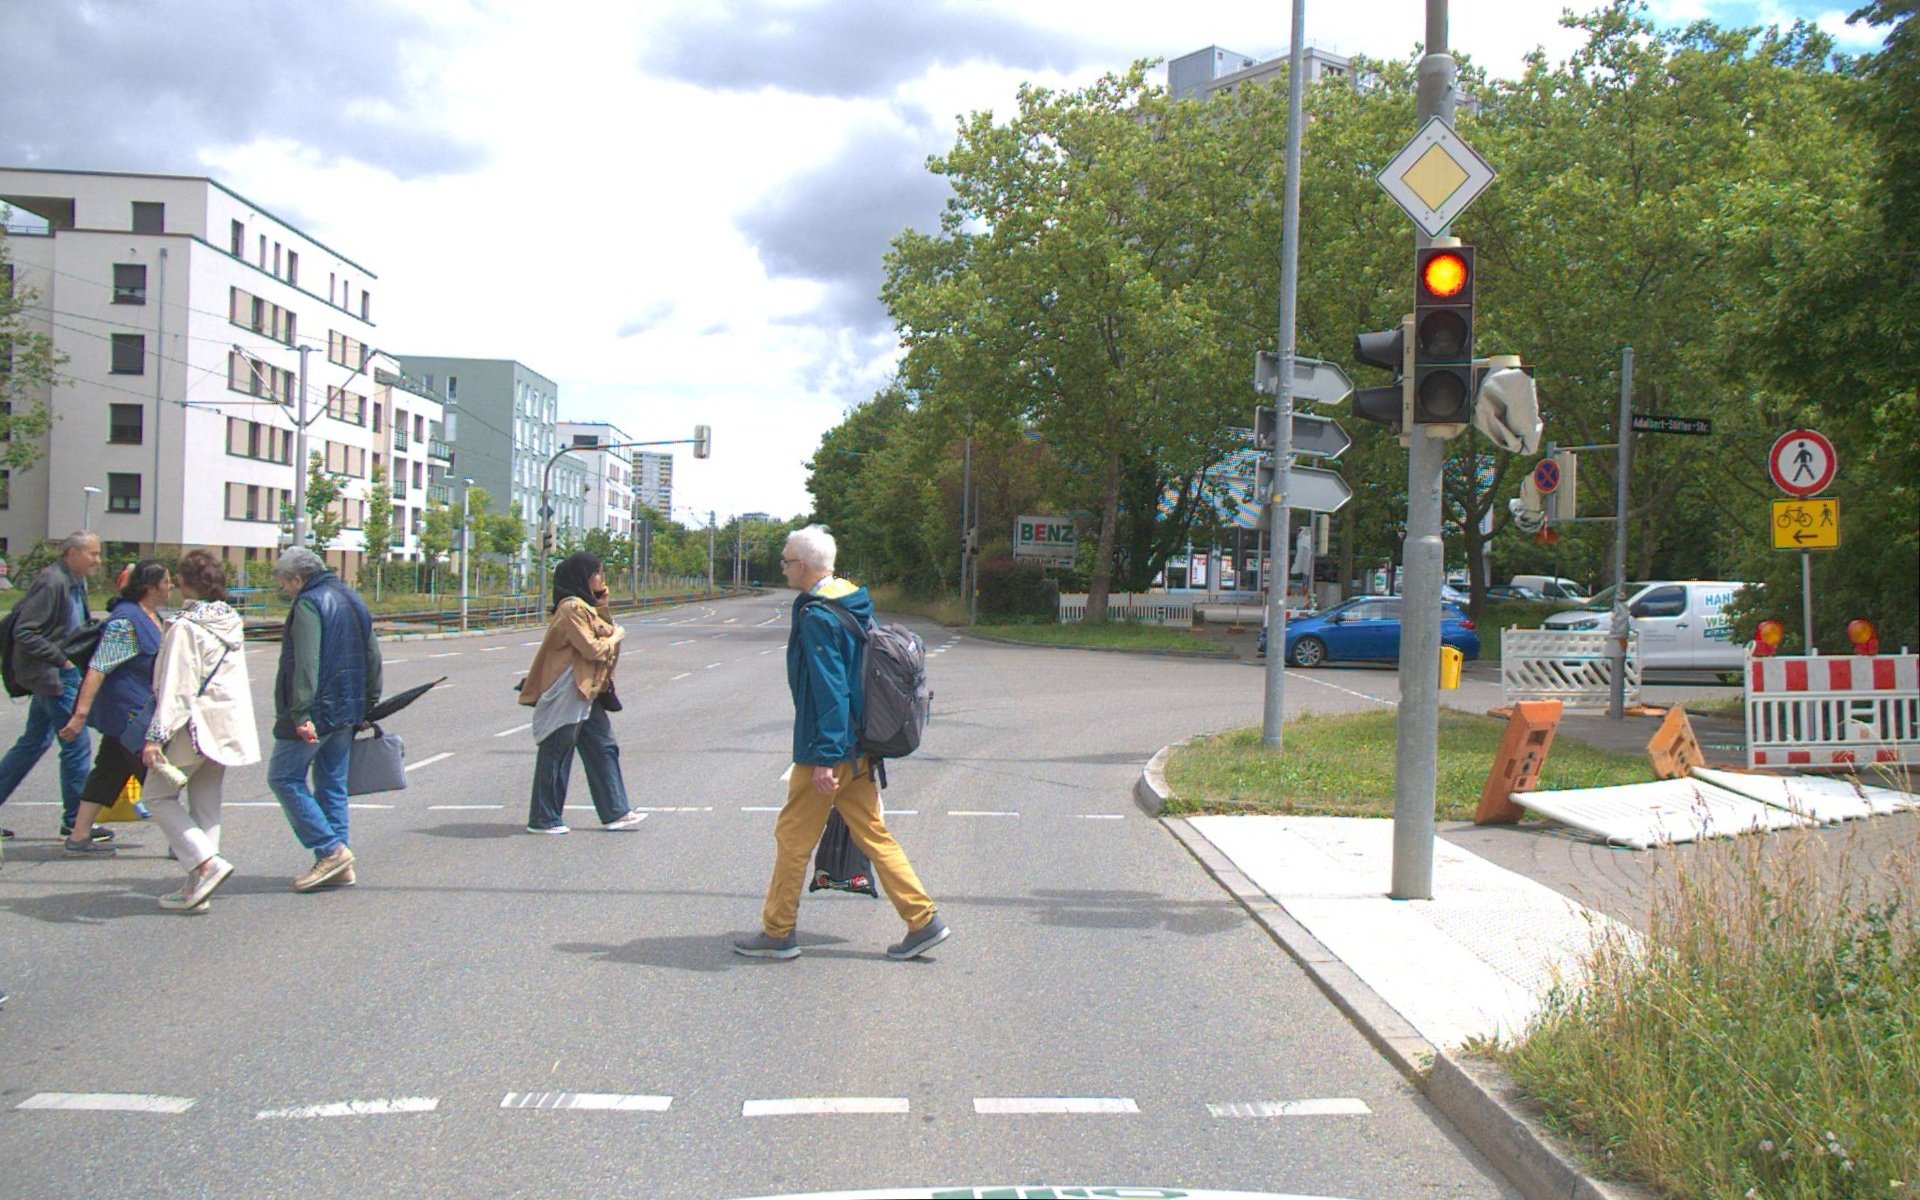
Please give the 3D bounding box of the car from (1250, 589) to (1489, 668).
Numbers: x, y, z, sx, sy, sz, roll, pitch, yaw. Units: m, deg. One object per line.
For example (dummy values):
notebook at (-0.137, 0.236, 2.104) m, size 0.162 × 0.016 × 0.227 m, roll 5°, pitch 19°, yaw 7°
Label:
car at (8.303, 0.555, 33.810) m, size 4.385 × 1.512 × 1.988 m, roll 1°, pitch 0°, yaw -1°

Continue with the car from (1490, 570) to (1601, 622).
car at (23.932, -0.189, 67.705) m, size 1.974 × 2.049 × 3.957 m, roll 0°, pitch 1°, yaw -32°

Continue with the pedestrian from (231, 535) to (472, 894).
pedestrian at (-2.968, 0.532, 8.136) m, size 0.850 × 1.663 × 0.766 m, roll 1°, pitch 0°, yaw 5°

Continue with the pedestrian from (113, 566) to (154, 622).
pedestrian at (-22.945, -0.172, 45.925) m, size 0.814 × 1.542 × 0.636 m, roll 1°, pitch 0°, yaw -1°

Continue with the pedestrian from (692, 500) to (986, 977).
pedestrian at (-0.465, 0.517, 6.837) m, size 0.988 × 1.805 × 0.949 m, roll 1°, pitch 0°, yaw 10°

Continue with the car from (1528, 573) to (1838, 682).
car at (13.425, 0.496, 30.869) m, size 4.976 × 1.906 × 1.947 m, roll 1°, pitch 0°, yaw -5°

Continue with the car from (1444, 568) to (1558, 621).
car at (21.365, -0.241, 65.469) m, size 1.974 × 2.049 × 3.957 m, roll 0°, pitch 1°, yaw -32°

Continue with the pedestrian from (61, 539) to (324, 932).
pedestrian at (-3.431, 0.574, 7.450) m, size 0.805 × 1.668 × 0.734 m, roll 1°, pitch 0°, yaw 4°

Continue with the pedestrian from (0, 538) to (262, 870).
pedestrian at (-4.318, 0.512, 8.666) m, size 0.893 × 1.635 × 0.929 m, roll 1°, pitch 0°, yaw 1°

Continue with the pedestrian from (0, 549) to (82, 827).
pedestrian at (-6.044, 0.502, 10.093) m, size 0.874 × 1.624 × 0.908 m, roll 1°, pitch 0°, yaw -1°

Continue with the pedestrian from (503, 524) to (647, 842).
pedestrian at (-2.258, 0.461, 9.719) m, size 0.768 × 1.773 × 0.826 m, roll 1°, pitch 0°, yaw -13°

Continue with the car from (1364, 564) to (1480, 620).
car at (17.521, -0.320, 62.835) m, size 1.974 × 2.049 × 3.957 m, roll 0°, pitch 1°, yaw -32°

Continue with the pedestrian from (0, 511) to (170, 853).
pedestrian at (-5.117, 0.426, 9.204) m, size 0.982 × 1.804 × 0.929 m, roll 1°, pitch 0°, yaw -1°

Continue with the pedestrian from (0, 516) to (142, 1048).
pedestrian at (-3.465, 0.566, 5.572) m, size 0.938 × 1.677 × 0.881 m, roll 1°, pitch 0°, yaw 3°
